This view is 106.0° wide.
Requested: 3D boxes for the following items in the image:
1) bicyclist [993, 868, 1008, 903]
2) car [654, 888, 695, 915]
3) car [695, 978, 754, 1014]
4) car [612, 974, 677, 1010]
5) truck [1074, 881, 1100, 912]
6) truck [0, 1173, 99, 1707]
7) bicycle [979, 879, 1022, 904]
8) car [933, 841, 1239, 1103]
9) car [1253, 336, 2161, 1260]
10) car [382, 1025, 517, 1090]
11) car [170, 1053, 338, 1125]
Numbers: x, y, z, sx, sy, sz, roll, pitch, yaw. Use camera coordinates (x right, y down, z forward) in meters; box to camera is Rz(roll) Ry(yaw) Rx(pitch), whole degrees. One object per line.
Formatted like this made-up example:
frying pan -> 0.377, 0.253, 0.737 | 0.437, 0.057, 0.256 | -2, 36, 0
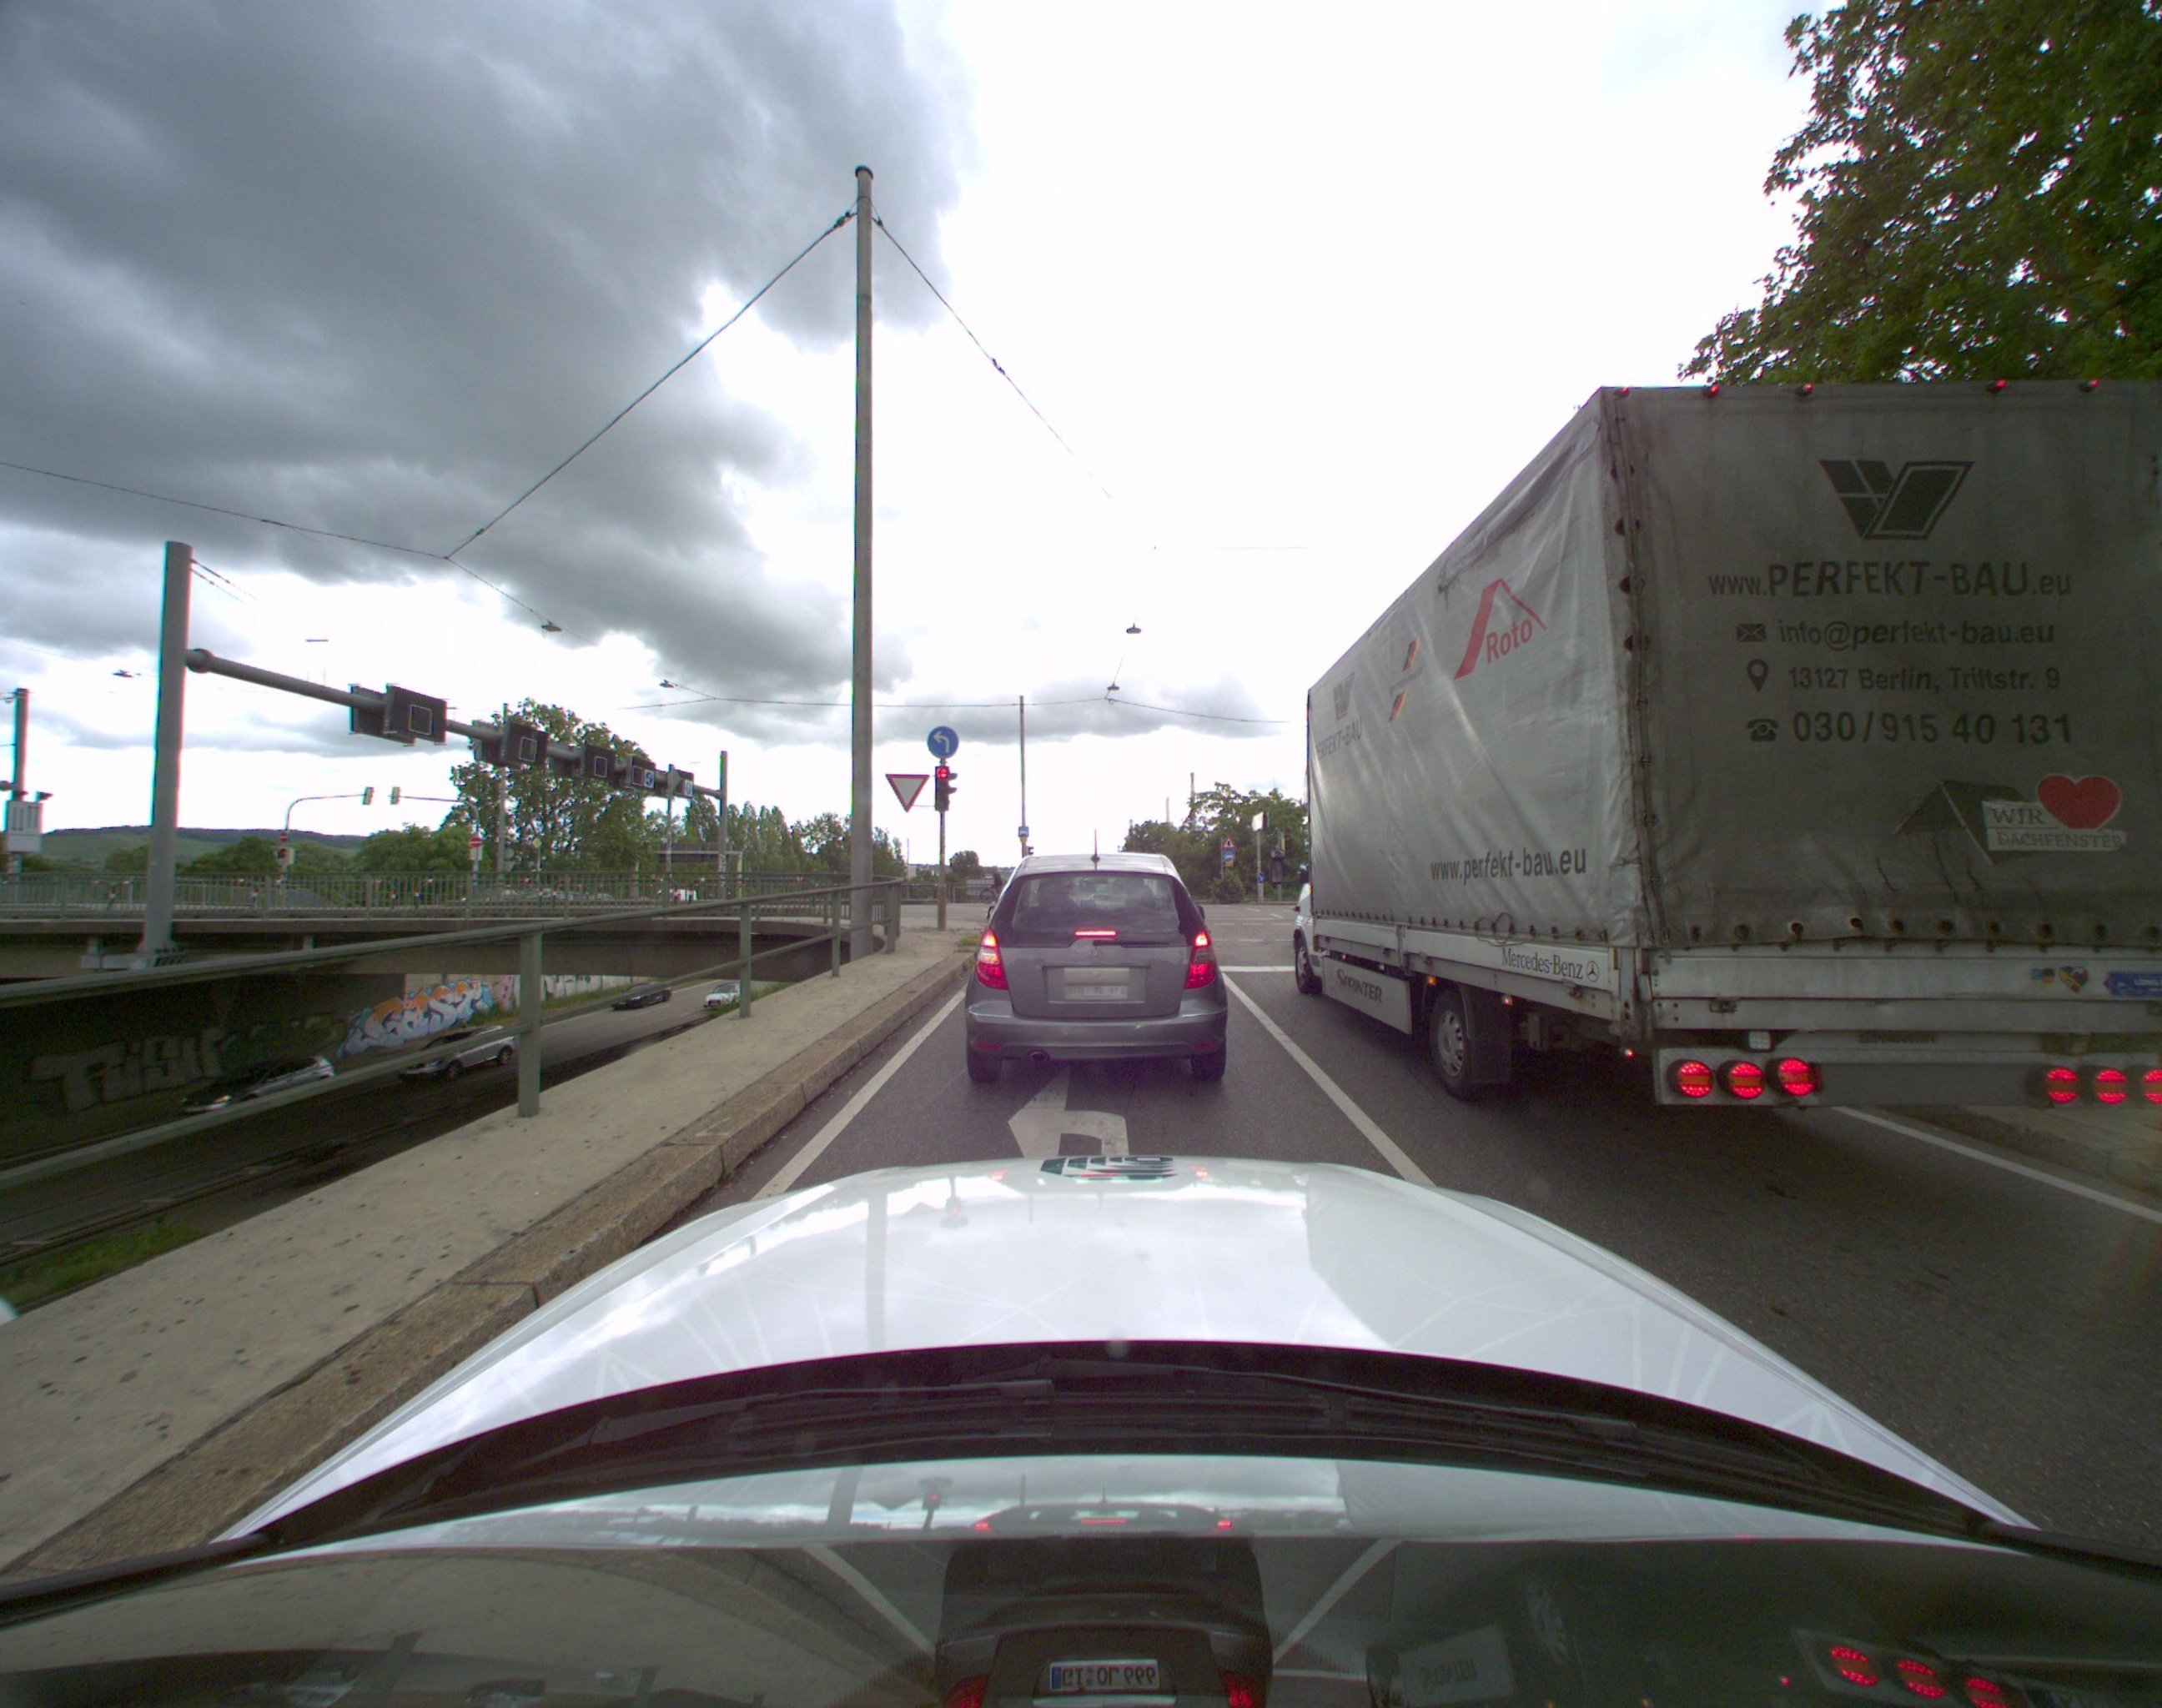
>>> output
bicyclist -> -3.979, 1.542, 40.290 | 0.653, 1.673, 0.867 | -1, 0, -9
car -> -36.327, 4.220, 72.879 | 1.850, 2.215, 3.660 | -1, 0, -3
car -> -22.105, 8.780, 50.659 | 1.773, 1.499, 4.000 | -1, 0, 2
car -> -28.522, 9.003, 53.411 | 1.928, 1.643, 4.109 | -1, 0, 2
truck -> 0.740, 5.507, 107.165 | 2.783, 3.518, 10.238 | -1, 0, -3
truck -> -9.643, 4.667, 3.357 | 2.740, 4.252, 6.702 | -2, -3, 3
bicycle -> -3.985, 1.828, 40.276 | 2.032, 1.124, 0.926 | -1, 0, -10
car -> 0.163, 0.708, 6.988 | 1.849, 1.588, 4.005 | -1, 1, 4
car -> 3.346, -0.178, 6.498 | 2.648, 3.329, 7.094 | -1, -1, 2
car -> -25.002, 8.020, 32.473 | 1.879, 1.616, 4.307 | -1, -2, 2
car -> -28.397, 8.044, 28.161 | 1.676, 1.457, 3.922 | -1, -2, 2
